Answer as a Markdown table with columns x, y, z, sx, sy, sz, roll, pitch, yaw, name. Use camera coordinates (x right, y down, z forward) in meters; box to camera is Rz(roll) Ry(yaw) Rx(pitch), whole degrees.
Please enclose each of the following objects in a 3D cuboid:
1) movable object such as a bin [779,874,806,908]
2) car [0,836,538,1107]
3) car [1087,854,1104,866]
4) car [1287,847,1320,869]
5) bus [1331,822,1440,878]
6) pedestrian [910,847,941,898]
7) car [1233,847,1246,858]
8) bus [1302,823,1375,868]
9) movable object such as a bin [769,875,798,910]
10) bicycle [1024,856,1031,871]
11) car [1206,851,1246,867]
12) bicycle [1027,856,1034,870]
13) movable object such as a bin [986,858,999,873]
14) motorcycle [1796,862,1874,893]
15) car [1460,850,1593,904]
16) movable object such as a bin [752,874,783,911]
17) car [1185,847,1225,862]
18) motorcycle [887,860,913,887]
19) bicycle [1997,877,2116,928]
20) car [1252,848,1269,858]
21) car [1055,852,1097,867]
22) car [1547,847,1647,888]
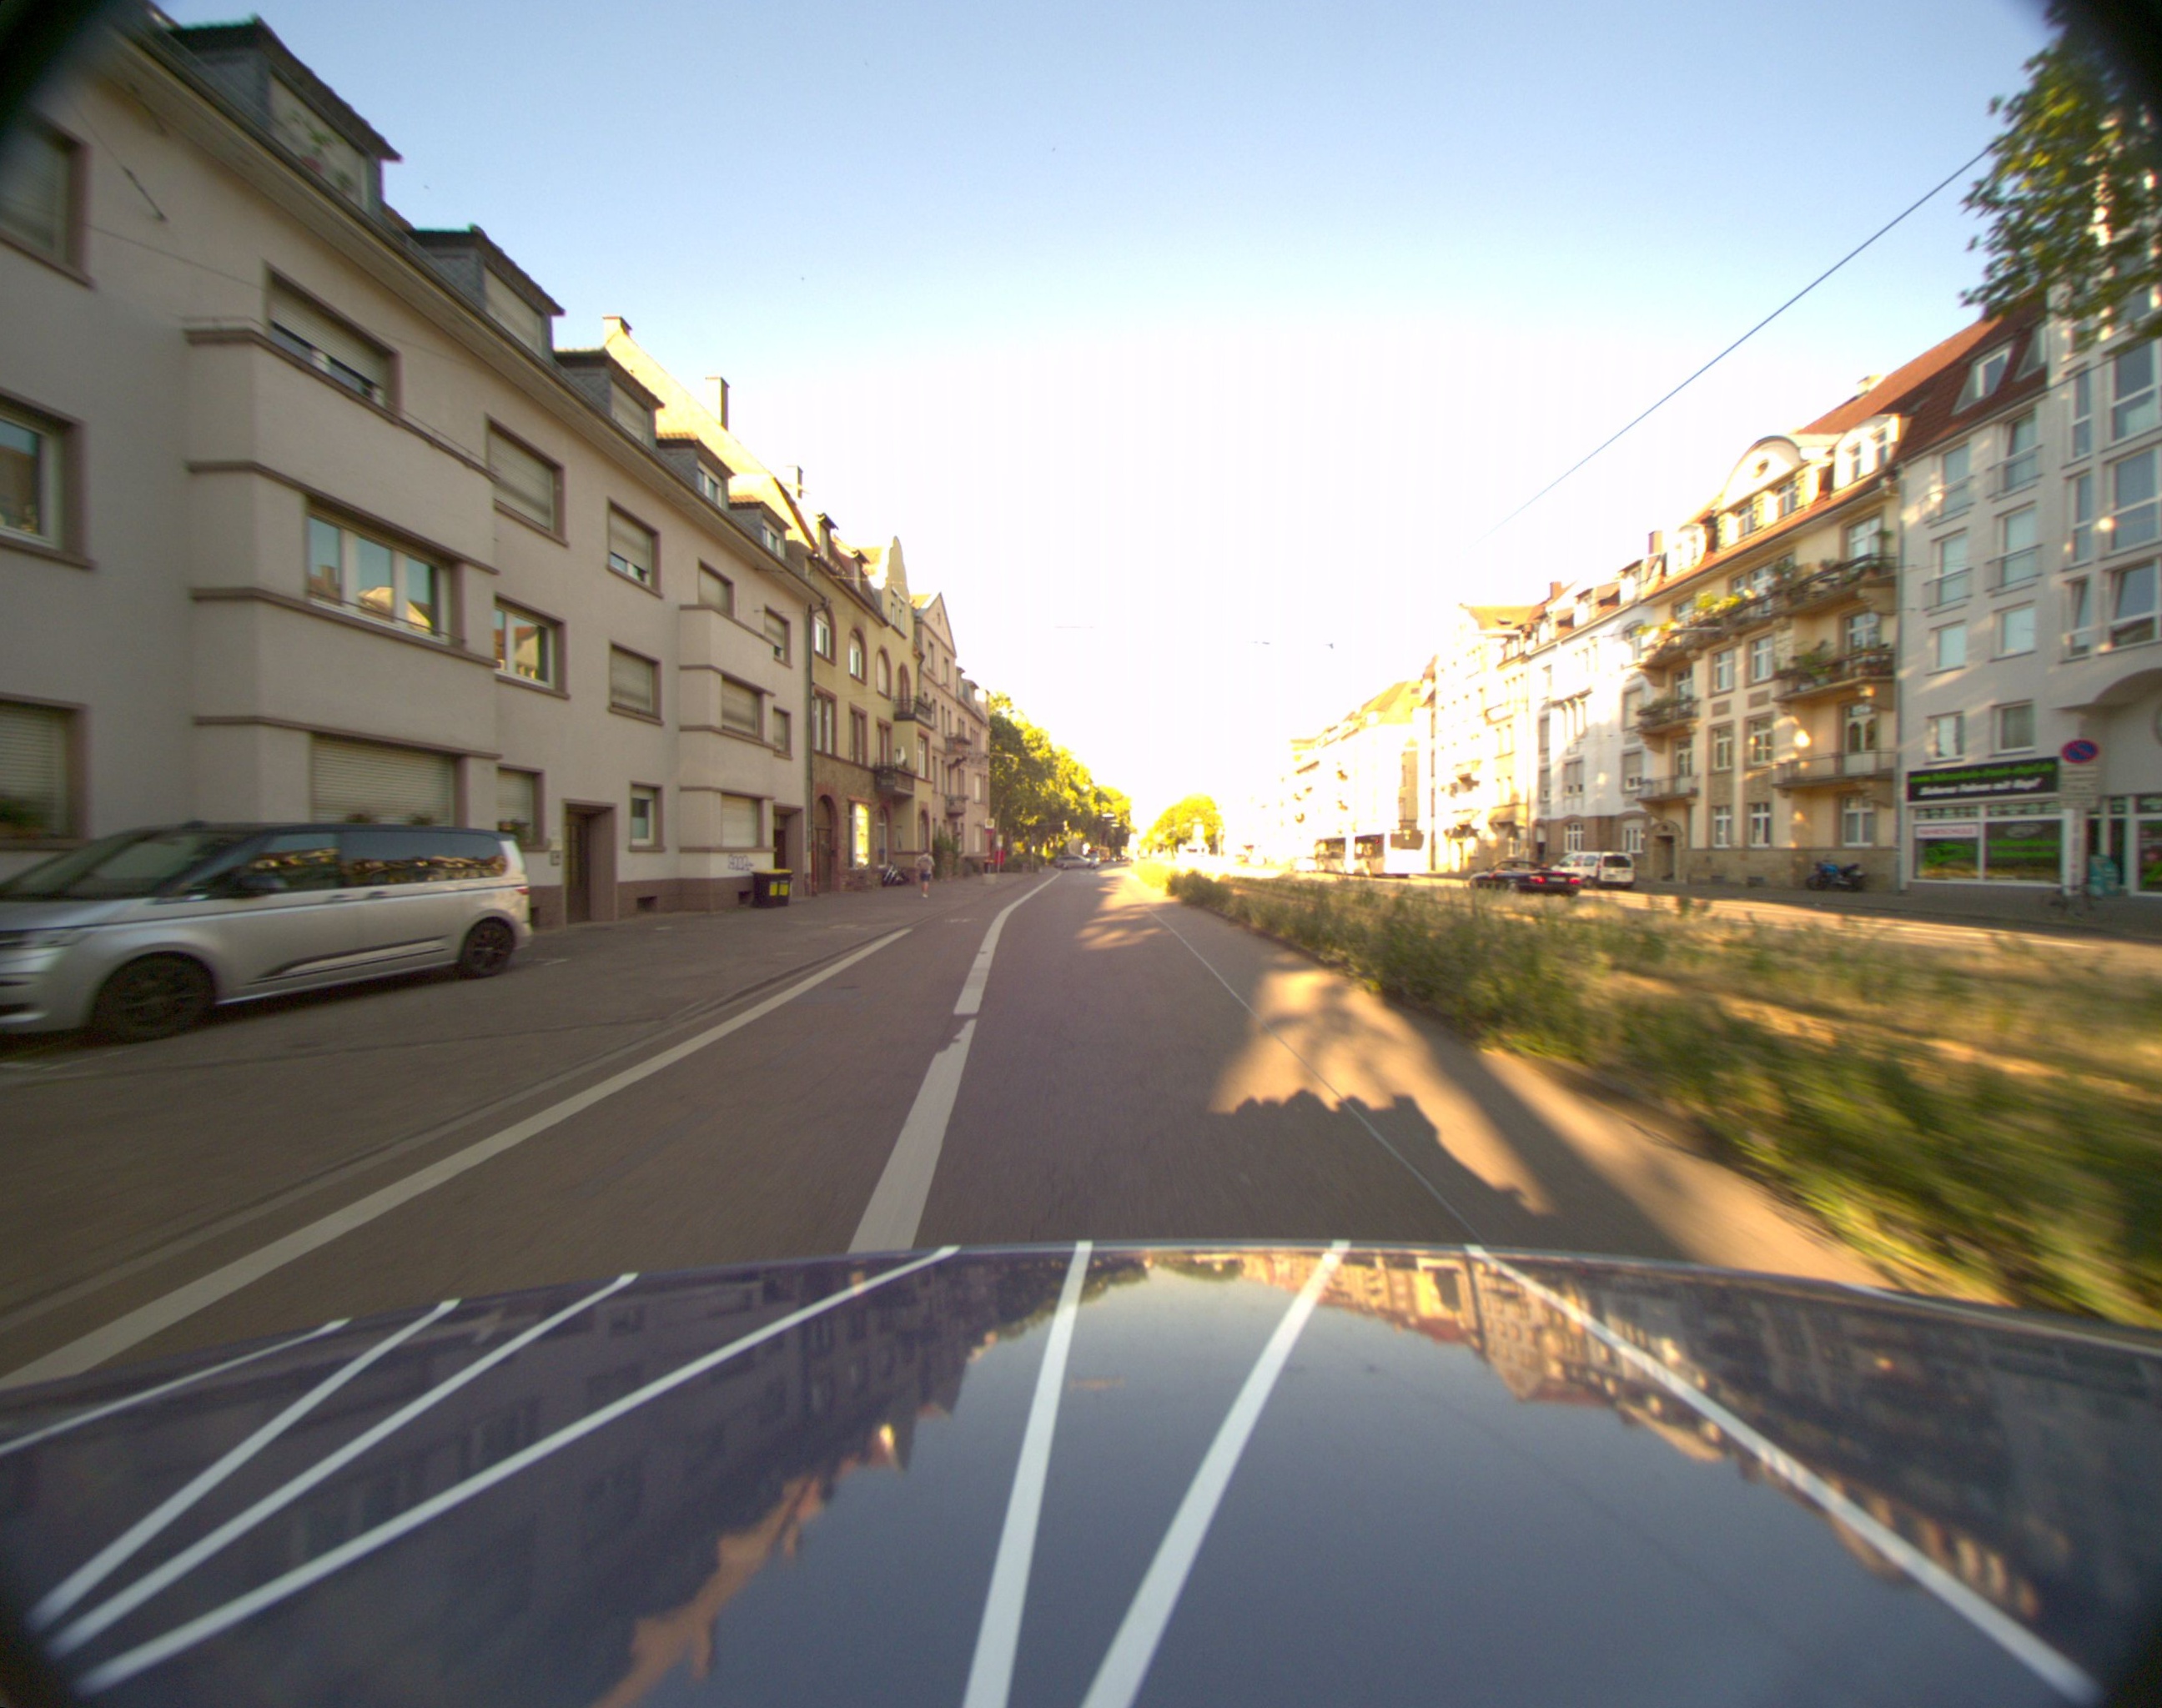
| x | y | z | sx | sy | sz | roll | pitch | yaw | name |
| --- | --- | --- | --- | --- | --- | --- | --- | --- | --- |
| -8.625 | 1.104 | 22.722 | 0.555 | 0.964 | 0.585 | 0 | 2 | 5 | movable object such as a bin |
| -8.426 | 0.789 | 7.721 | 1.896 | 1.937 | 4.902 | 0 | 1 | 6 | car |
| 2.072 | 0.848 | 108.496 | 1.877 | 1.587 | 4.002 | 0 | 1 | 8 | car |
| 17.684 | 0.291 | 60.545 | 1.934 | 1.674 | 4.001 | 0 | 1 | 7 | car |
| 20.135 | -0.392 | 51.360 | 3.262 | 3.355 | 11.977 | 0 | 1 | 4 | bus |
| -5.671 | 0.656 | 27.766 | 0.830 | 1.802 | 1.150 | 0 | 2 | 2 | pedestrian |
| 29.808 | -0.295 | 142.692 | 1.919 | 1.889 | 4.310 | 0 | 1 | 5 | car |
| 20.879 | -0.747 | 62.321 | 3.272 | 3.355 | 9.899 | 0 | 1 | 4 | bus |
| -8.580 | 1.095 | 21.907 | 0.555 | 0.964 | 0.585 | 0 | 2 | 5 | movable object such as a bin |
| -4.098 | 0.714 | 58.246 | 0.438 | 1.092 | 1.932 | 0 | 1 | 0 | bicycle |
| 15.388 | 0.512 | 80.604 | 3.996 | 1.696 | 1.836 | 0 | 2 | 3 | car |
| -4.087 | 0.707 | 61.323 | 0.370 | 1.062 | 1.874 | 0 | 1 | 3 | bicycle |
| -6.132 | 0.790 | 52.510 | 0.656 | 1.040 | 0.660 | 0 | 2 | 16 | movable object such as a bin |
| 27.582 | 0.821 | 27.845 | 0.529 | 1.015 | 2.420 | -3 | 0 | 3 | motorcycle |
| 14.241 | 0.661 | 24.635 | 1.720 | 1.477 | 4.700 | 2 | 1 | 3 | car |
| -8.695 | 1.058 | 21.092 | 0.555 | 0.964 | 0.585 | 0 | 2 | 5 | movable object such as a bin |
| 12.666 | 0.026 | 77.619 | 4.050 | 1.517 | 1.783 | 0 | 2 | 10 | car |
| -8.408 | 0.865 | 35.372 | 0.591 | 1.131 | 2.504 | 0 | 1 | 0 | motorcycle |
| 23.462 | 1.139 | 18.330 | 0.758 | 1.027 | 1.897 | -6 | 0 | 17 | bicycle |
| 25.124 | -0.147 | 106.377 | 1.733 | 1.471 | 3.820 | 0 | 1 | 23 | car |
| -0.533 | 0.560 | 79.120 | 4.123 | 1.565 | 1.717 | 0 | 2 | 8 | car |
| 24.449 | 0.573 | 36.206 | 1.908 | 1.777 | 4.654 | 0 | 1 | 5 | car |
